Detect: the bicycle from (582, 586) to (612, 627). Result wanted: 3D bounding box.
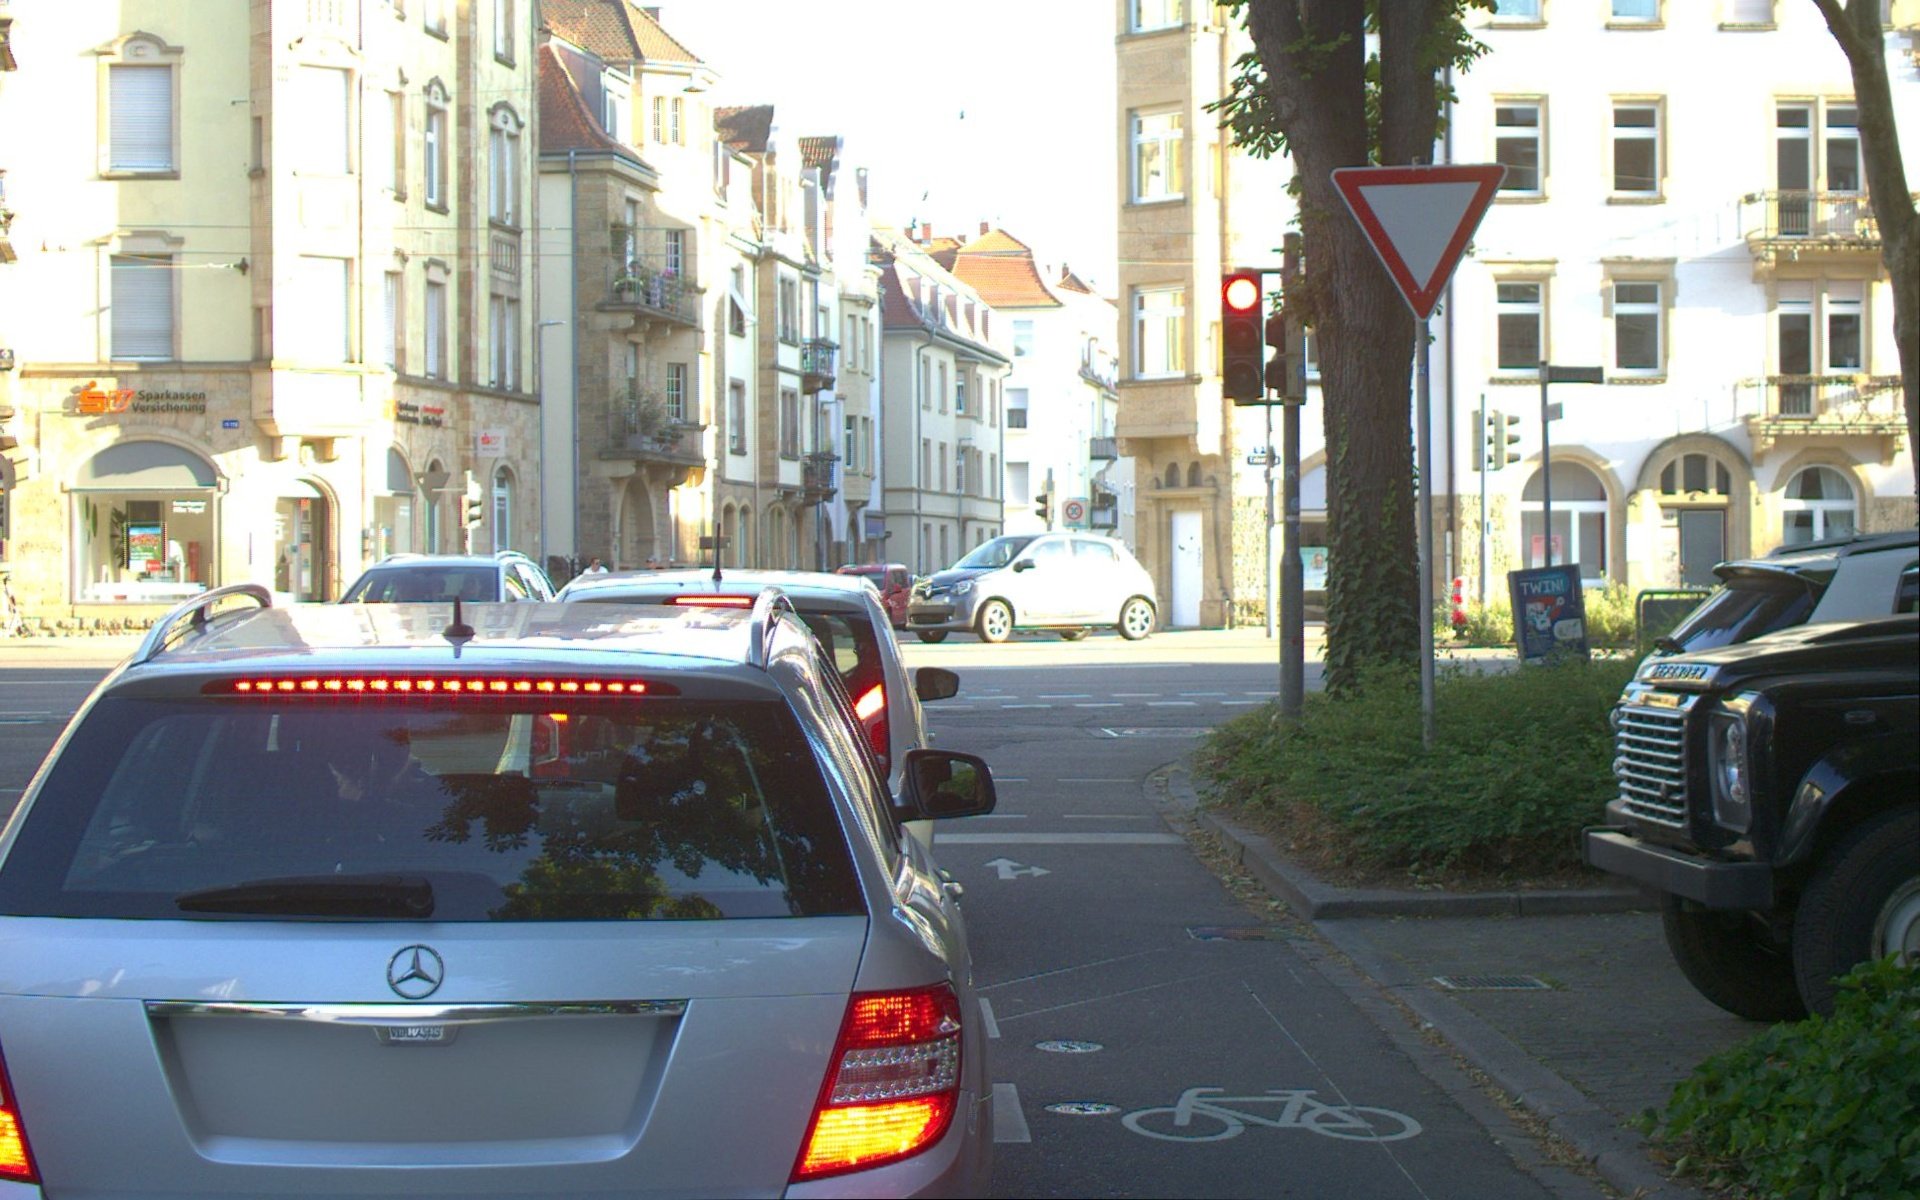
[{"bbox_3d":[-7.749,0.139,73.436,0.568,0.832,1.566,0,1,-4],"label":"bicycle"}]

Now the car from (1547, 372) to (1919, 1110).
[{"bbox_3d":[4.195,0.288,10.182,4.490,1.949,1.793,-2,1,-3],"label":"car"}]

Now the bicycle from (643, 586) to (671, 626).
[{"bbox_3d":[-6.459,0.125,73.352,0.568,0.832,1.566,0,1,-4],"label":"bicycle"}]

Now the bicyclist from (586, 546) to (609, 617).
[{"bbox_3d":[-7.739,-0.390,73.399,0.466,1.509,0.655,0,1,-4],"label":"bicyclist"}]

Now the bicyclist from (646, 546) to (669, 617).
[{"bbox_3d":[-6.467,-0.399,73.475,0.466,1.516,0.694,0,1,-4],"label":"bicyclist"}]

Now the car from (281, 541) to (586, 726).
[{"bbox_3d":[-4.564,0.241,30.414,1.781,1.457,4.299,0,2,4],"label":"car"}]

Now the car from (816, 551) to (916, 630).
[{"bbox_3d":[-2.403,-0.268,88.747,1.938,1.952,4.149,0,1,8],"label":"car"}]

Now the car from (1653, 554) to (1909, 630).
[{"bbox_3d":[11.863,-0.127,49.768,3.364,1.065,1.380,0,1,-1],"label":"car"}]

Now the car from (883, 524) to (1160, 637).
[{"bbox_3d":[0.882,-0.300,48.397,3.580,1.496,1.621,-1,2,-31],"label":"car"}]

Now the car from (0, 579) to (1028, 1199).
[{"bbox_3d":[-0.857,0.703,6.495,1.690,1.424,3.493,1,1,-3],"label":"car"}]

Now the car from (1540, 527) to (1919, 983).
[{"bbox_3d":[4.169,0.500,13.135,3.480,1.580,1.711,-2,1,-6],"label":"car"}]

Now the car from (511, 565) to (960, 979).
[{"bbox_3d":[-0.839,0.574,13.597,1.533,1.386,3.600,0,1,-2],"label":"car"}]
